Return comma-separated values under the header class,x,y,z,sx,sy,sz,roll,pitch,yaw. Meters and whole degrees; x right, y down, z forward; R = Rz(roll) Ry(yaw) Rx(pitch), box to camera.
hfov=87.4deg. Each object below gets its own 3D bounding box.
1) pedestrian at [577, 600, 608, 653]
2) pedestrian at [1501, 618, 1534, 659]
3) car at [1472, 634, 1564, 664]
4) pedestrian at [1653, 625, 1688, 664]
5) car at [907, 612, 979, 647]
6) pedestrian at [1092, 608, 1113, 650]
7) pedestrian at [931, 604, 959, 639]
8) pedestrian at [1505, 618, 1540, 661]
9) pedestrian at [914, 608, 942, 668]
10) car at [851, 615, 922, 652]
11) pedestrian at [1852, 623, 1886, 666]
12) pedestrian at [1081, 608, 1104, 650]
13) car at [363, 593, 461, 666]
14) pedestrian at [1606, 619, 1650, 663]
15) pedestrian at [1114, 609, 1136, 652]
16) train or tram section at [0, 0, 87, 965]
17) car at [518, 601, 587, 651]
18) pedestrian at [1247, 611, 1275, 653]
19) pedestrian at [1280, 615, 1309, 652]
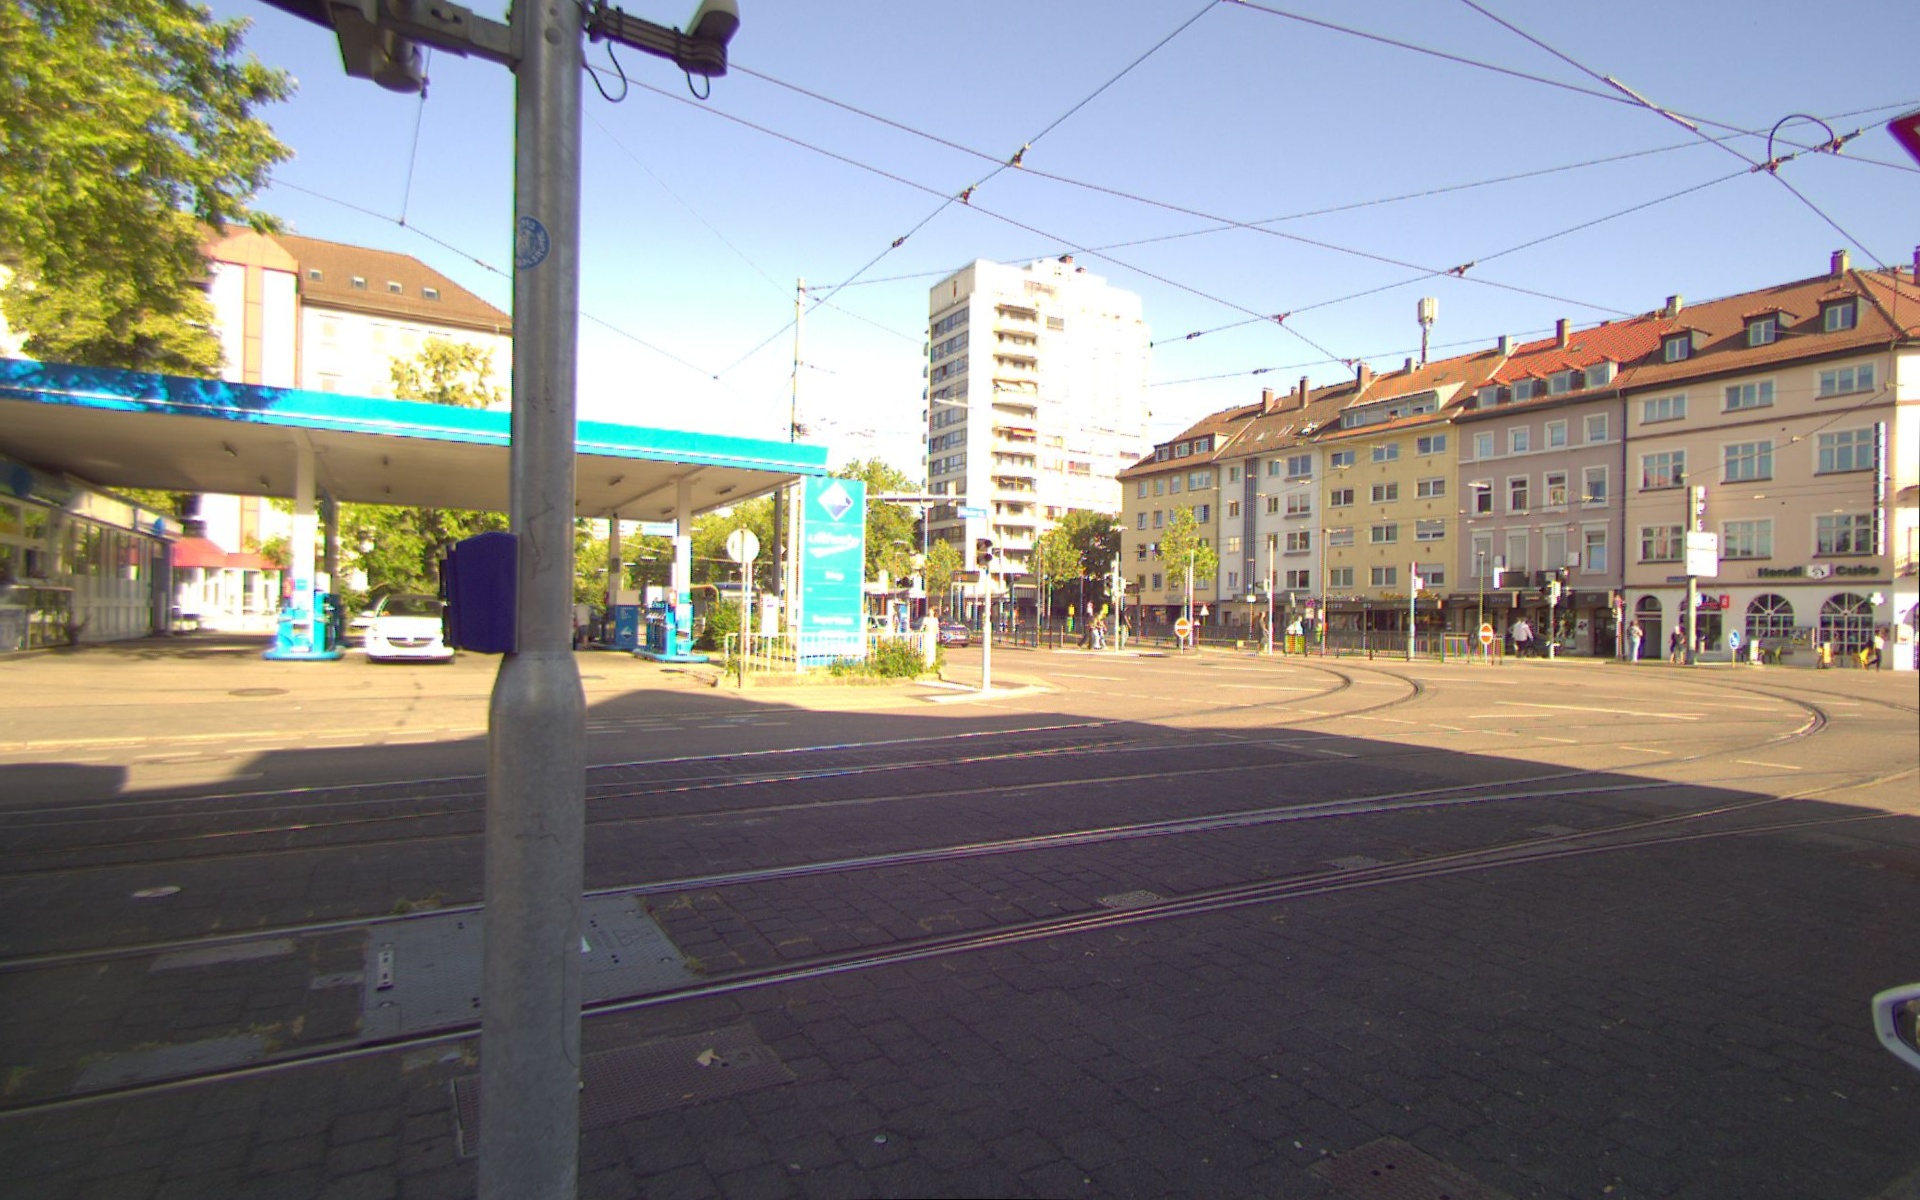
class,x,y,z,sx,sy,sz,roll,pitch,yaw
pedestrian,-11.751,0.829,32.080,0.802,1.647,1.156,1,-1,-26
pedestrian,24.471,1.678,44.099,0.924,1.779,0.934,1,-1,-30
car,30.428,2.635,54.905,1.977,1.472,3.966,1,-1,-31
pedestrian,34.072,2.126,48.202,0.926,1.798,1.006,1,-1,-15
car,-0.851,1.406,48.316,1.863,1.601,3.971,1,-1,-28
pedestrian,6.221,1.253,43.907,0.775,1.794,0.679,1,-1,19
pedestrian,-0.819,1.167,54.641,1.156,1.870,1.098,2,-1,-28
pedestrian,23.246,1.625,41.524,0.924,1.779,0.934,1,-1,-30
pedestrian,-0.898,1.056,28.032,0.702,1.641,1.105,1,-1,-5
car,-3.476,1.528,46.734,1.863,1.601,3.971,1,-1,-28
pedestrian,38.645,1.891,42.683,0.803,1.767,1.035,2,-1,-45
pedestrian,5.690,1.233,43.117,0.775,1.794,0.875,1,-1,19
car,-12.310,0.638,22.528,1.760,1.483,3.968,1,-1,-30
pedestrian,26.647,1.613,40.066,1.091,1.707,1.075,1,-1,-30
pedestrian,6.927,1.265,42.123,0.775,1.794,0.679,1,-1,19
train or tram section,-8.251,-0.595,0.121,11.889,3.546,2.757,1,-1,-31
car,-13.450,0.838,33.013,1.725,1.431,4.061,5,-2,-26
pedestrian,12.312,1.318,41.105,0.932,1.677,0.828,1,-1,5
pedestrian,13.549,1.356,40.721,0.912,1.473,0.825,1,-1,3
